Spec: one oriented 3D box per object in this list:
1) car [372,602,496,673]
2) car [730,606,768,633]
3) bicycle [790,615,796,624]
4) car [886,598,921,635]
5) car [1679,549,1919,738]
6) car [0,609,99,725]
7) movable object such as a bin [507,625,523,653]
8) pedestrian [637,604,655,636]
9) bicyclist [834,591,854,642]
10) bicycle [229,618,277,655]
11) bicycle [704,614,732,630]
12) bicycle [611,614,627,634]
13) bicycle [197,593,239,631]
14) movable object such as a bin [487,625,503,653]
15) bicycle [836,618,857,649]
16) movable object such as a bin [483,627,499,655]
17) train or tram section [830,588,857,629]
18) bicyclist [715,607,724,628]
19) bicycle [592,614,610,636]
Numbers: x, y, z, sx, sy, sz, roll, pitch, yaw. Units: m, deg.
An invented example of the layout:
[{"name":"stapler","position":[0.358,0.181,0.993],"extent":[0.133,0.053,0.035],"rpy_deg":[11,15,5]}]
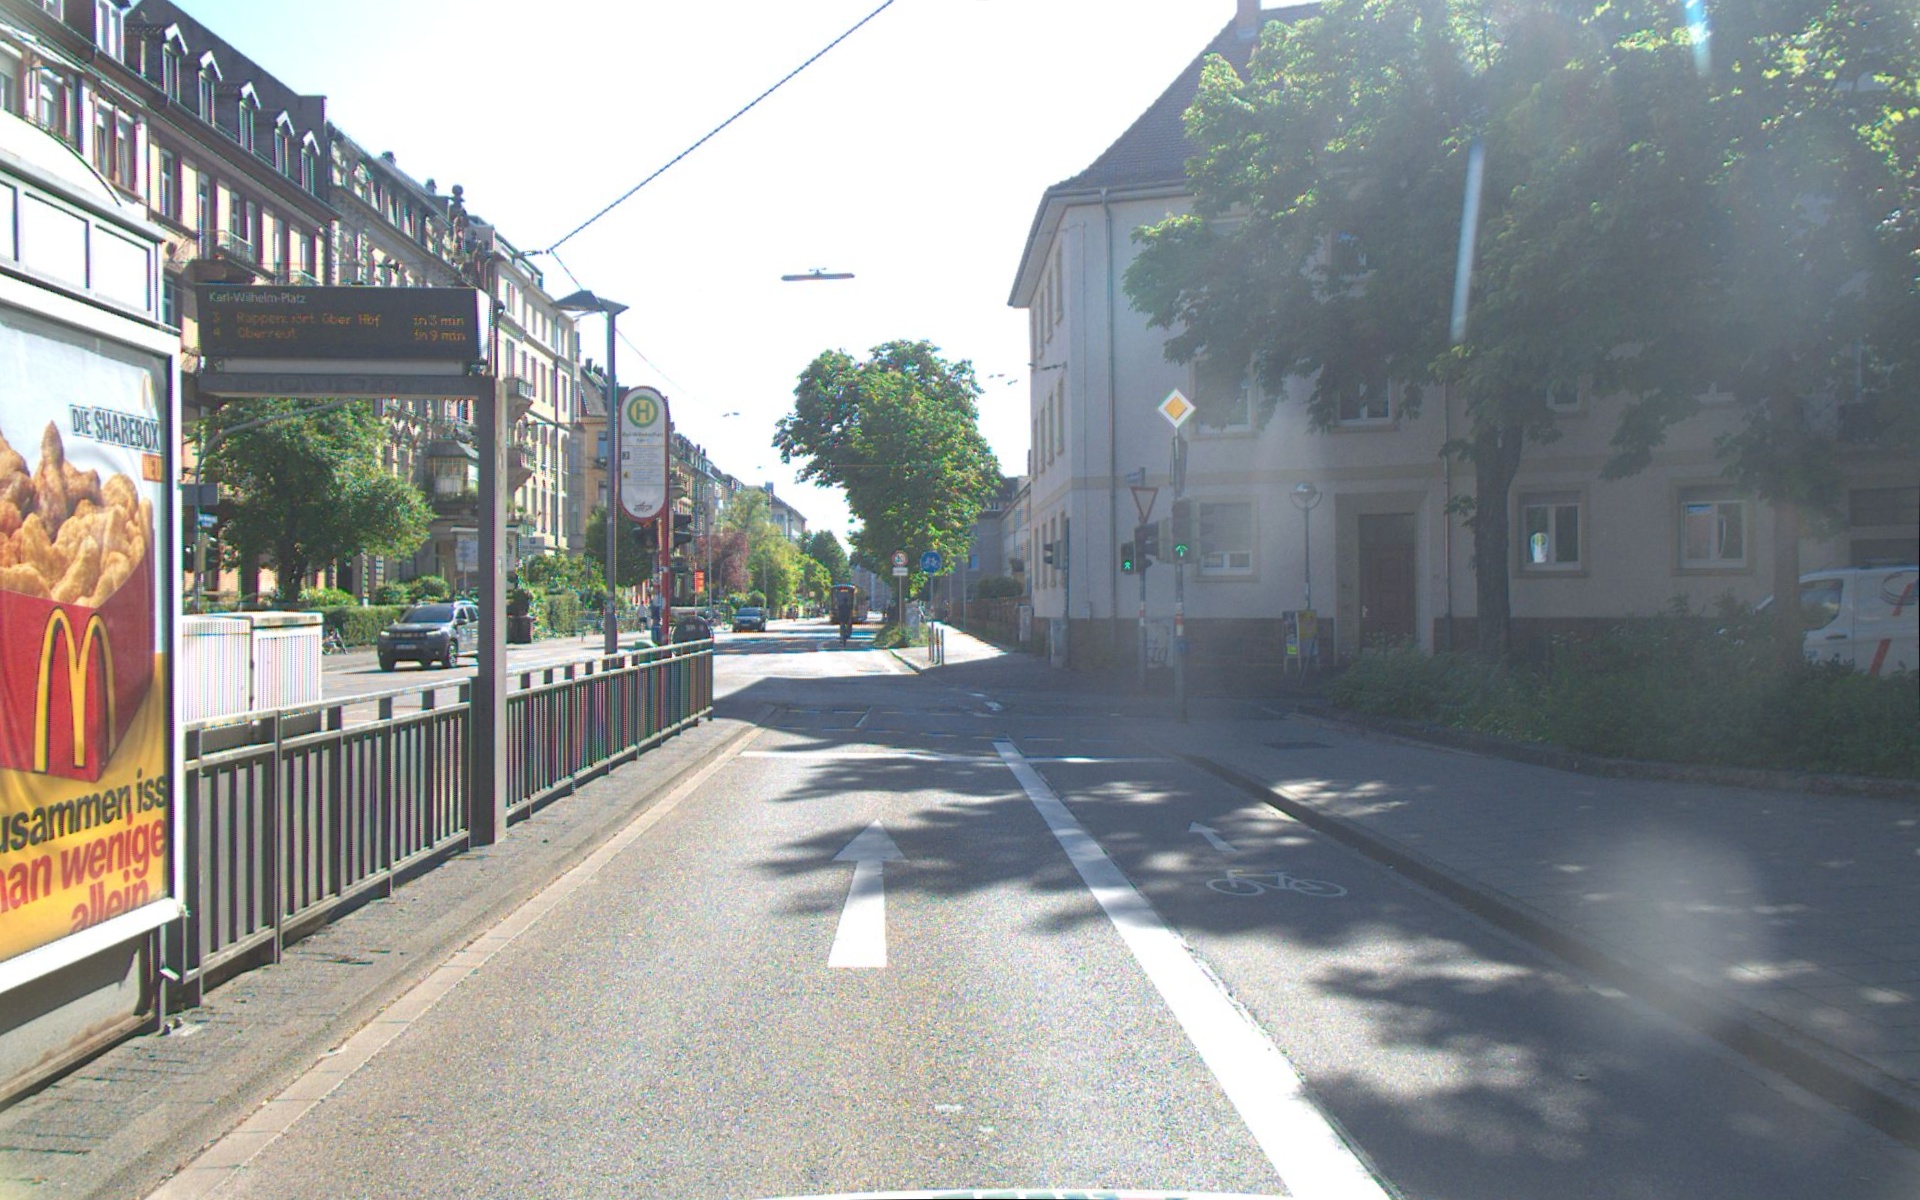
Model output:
[{"name":"car","position":[-13.306,0.930,42.085],"extent":[1.859,1.646,4.263],"rpy_deg":[-2,0,-2]},{"name":"car","position":[-12.880,1.175,101.269],"extent":[1.795,1.545,4.965],"rpy_deg":[2,0,-2]},{"name":"bicycle","position":[-18.568,2.183,184.100],"extent":[0.451,0.942,2.202],"rpy_deg":[-2,0,-2]},{"name":"car","position":[-2.863,0.824,83.654],"extent":[1.709,1.797,4.475],"rpy_deg":[1,0,-3]},{"name":"car","position":[11.202,0.500,19.564],"extent":[1.674,2.128,4.682],"rpy_deg":[1,0,-43]},{"name":"car","position":[-13.953,0.927,23.206],"extent":[1.655,1.567,3.799],"rpy_deg":[1,0,1]},{"name":"movable object such as a bin","position":[-18.178,1.587,67.568],"extent":[0.469,1.105,0.541],"rpy_deg":[1,-1,0]},{"name":"pedestrian","position":[-17.399,1.094,91.693],"extent":[0.812,1.754,1.082],"rpy_deg":[1,-2,-1]},{"name":"bicyclist","position":[-4.360,0.609,62.140],"extent":[0.713,1.881,0.836],"rpy_deg":[1,-1,-3]},{"name":"bicycle","position":[-18.875,0.963,44.188],"extent":[0.334,0.942,1.943],"rpy_deg":[1,0,3]},{"name":"bicycle","position":[-16.823,1.522,114.944],"extent":[1.876,1.132,0.692],"rpy_deg":[1,0,-10]},{"name":"bicycle","position":[-18.471,1.309,89.487],"extent":[0.552,1.051,1.766],"rpy_deg":[1,0,-3]},{"name":"bicycle","position":[-18.983,0.302,42.348],"extent":[0.334,0.942,1.453],"rpy_deg":[1,0,3]},{"name":"movable object such as a bin","position":[-18.987,1.587,67.584],"extent":[0.469,1.105,0.541],"rpy_deg":[1,-1,0]},{"name":"bicycle","position":[-4.258,1.245,62.217],"extent":[0.678,1.132,1.718],"rpy_deg":[1,0,-2]},{"name":"movable object such as a bin","position":[-18.974,1.648,66.913],"extent":[0.469,1.105,0.541],"rpy_deg":[1,-1,0]},{"name":"train or tram section","position":[-10.423,0.758,148.642],"extent":[2.110,3.492,6.608],"rpy_deg":[1,0,-2]},{"name":"bicyclist","position":[-16.703,1.217,114.976],"extent":[0.602,1.494,0.636],"rpy_deg":[1,-1,-10]},{"name":"bicycle","position":[-18.459,1.277,85.147],"extent":[0.551,1.051,1.767],"rpy_deg":[1,1,-1]}]
